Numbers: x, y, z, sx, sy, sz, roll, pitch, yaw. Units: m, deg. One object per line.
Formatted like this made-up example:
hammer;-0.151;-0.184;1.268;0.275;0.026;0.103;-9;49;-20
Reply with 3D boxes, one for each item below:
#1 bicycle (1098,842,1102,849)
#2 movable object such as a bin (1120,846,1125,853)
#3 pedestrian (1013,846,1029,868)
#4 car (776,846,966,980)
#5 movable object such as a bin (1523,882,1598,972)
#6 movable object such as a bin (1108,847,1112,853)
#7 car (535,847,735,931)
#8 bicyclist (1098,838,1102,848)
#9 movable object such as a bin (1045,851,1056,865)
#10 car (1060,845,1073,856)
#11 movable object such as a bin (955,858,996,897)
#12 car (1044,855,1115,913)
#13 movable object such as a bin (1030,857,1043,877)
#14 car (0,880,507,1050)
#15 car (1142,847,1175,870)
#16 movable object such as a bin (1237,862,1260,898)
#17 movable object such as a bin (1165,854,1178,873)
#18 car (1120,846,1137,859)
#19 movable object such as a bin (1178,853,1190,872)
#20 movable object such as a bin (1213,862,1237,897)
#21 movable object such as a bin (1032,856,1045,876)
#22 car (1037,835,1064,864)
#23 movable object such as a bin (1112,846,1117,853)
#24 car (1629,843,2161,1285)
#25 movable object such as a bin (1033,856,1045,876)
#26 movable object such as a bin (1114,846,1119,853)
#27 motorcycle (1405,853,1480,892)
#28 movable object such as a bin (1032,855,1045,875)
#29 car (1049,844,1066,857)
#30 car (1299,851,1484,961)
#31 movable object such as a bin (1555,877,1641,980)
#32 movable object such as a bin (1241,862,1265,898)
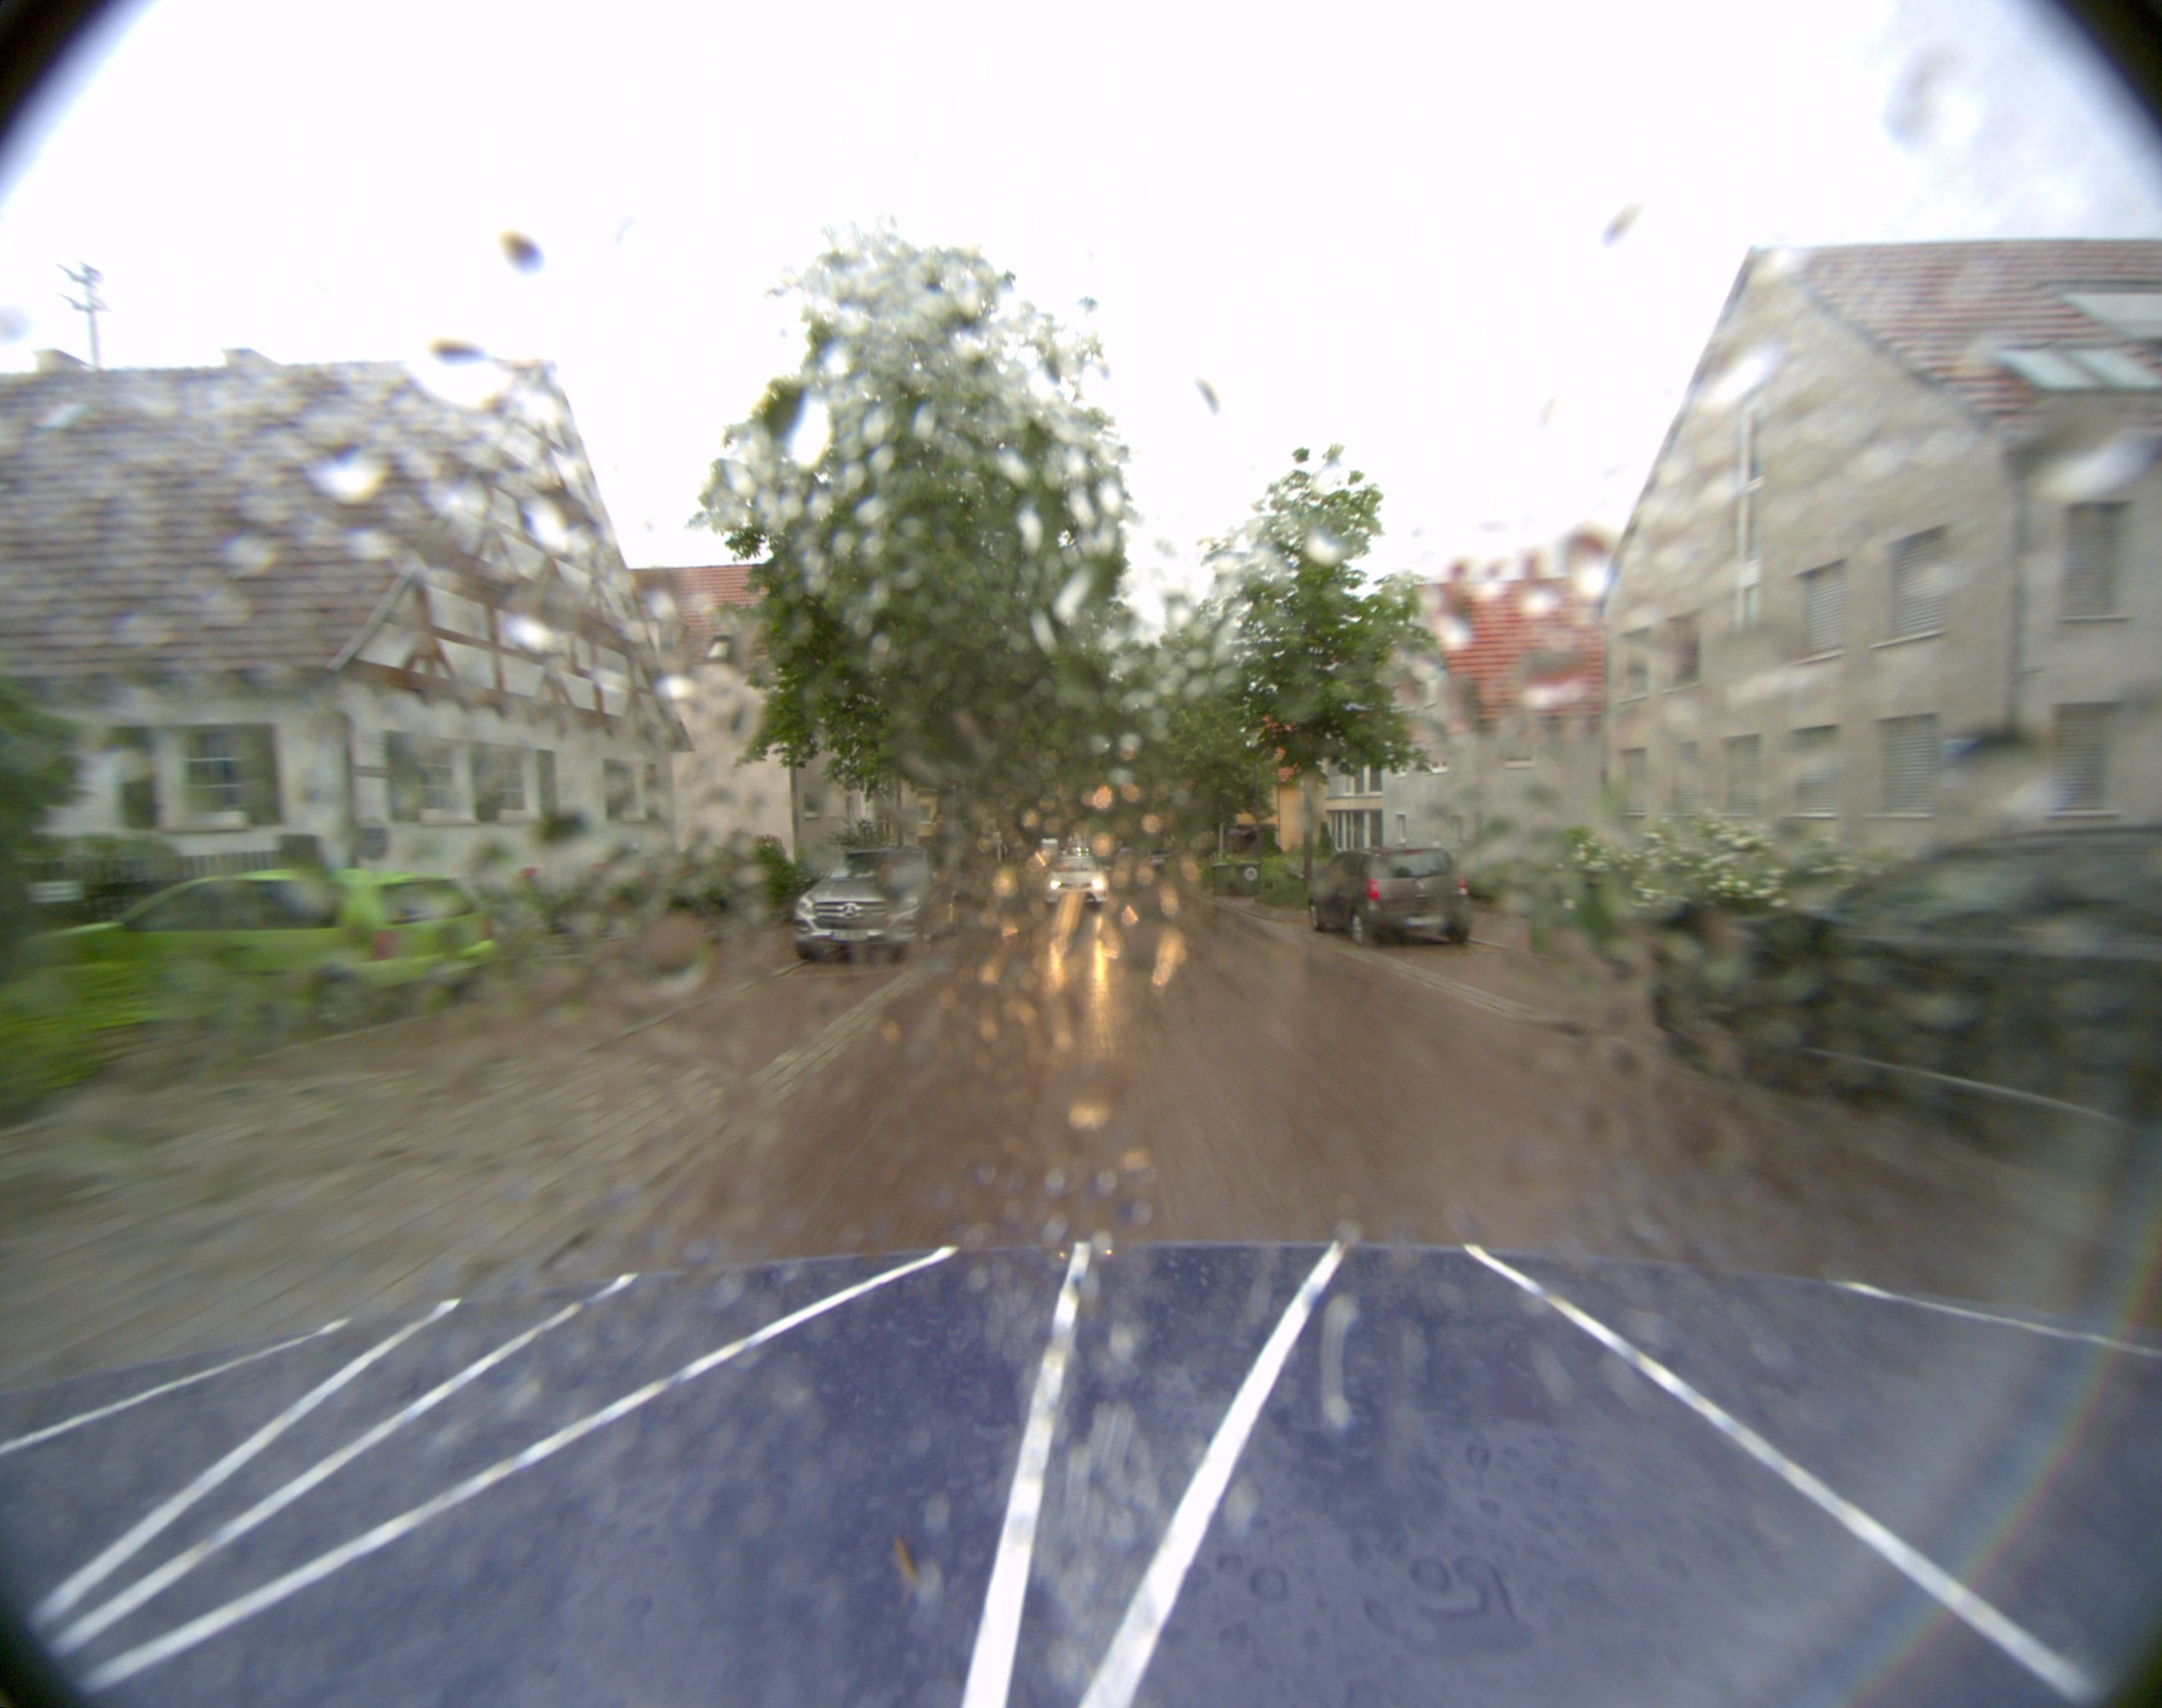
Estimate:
bicycle;3.348;-1.538;133.467;0.629;1.202;1.980;-2;1;0
movable object such as a bin;6.132;-0.680;112.062;0.665;1.068;0.596;-1;2;5
pedestrian;-4.676;0.228;59.261;0.955;1.642;0.794;0;2;14
car;-3.251;0.800;12.805;1.919;1.782;4.487;-2;1;0
movable object such as a bin;6.182;0.921;9.819;0.554;1.092;0.595;-2;0;-1
movable object such as a bin;5.065;-0.685;132.660;0.618;1.053;0.568;-4;1;-1
car;-12.936;0.970;22.281;4.472;1.889;1.999;-5;2;-1
bicyclist;3.338;-1.996;133.483;0.629;1.721;0.880;-2;1;0
movable object such as a bin;-2.484;0.336;61.944;0.799;1.069;0.878;-2;1;0
car;-1.899;-0.474;100.213;1.685;1.391;3.794;-1;1;0
movable object such as a bin;-3.750;0.824;27.065;1.227;1.308;1.134;-1;1;3
car;0.039;0.806;22.347;1.828;1.451;3.875;-2;1;2
movable object such as a bin;-2.411;0.702;40.895;0.645;1.076;0.540;-2;1;-3
car;-8.118;1.019;7.648;3.374;1.422;1.630;0;1;-3
car;5.160;0.260;50.934;1.776;1.381;4.545;-3;1;2
movable object such as a bin;5.379;0.828;24.350;0.612;1.105;0.564;-1;1;2
movable object such as a bin;5.155;0.544;43.337;0.596;1.056;0.545;-4;1;4
car;5.454;-0.195;87.871;1.754;1.388;3.795;-2;1;1
movable object such as a bin;5.863;0.484;43.432;0.596;1.056;0.545;-3;1;4
movable object such as a bin;4.632;0.817;24.449;0.644;1.105;0.536;-1;1;2
movable object such as a bin;-2.373;0.667;42.493;0.690;1.076;0.540;-2;1;-3
car;-2.769;-0.442;69.755;2.146;2.446;5.434;-2;1;0
movable object such as a bin;4.949;-0.670;112.931;0.665;1.068;0.596;-1;2;5
car;4.849;0.773;3.417;1.776;1.544;3.999;-4;0;-1
movable object such as a bin;-2.329;0.677;41.922;0.611;1.076;0.513;-2;1;-3
movable object such as a bin;5.271;-0.650;112.124;0.665;1.061;0.596;-1;2;5
motorcycle;11.555;0.587;24.340;1.987;1.155;0.818;-2;1;1
movable object such as a bin;-2.387;0.604;43.102;0.690;1.076;0.540;-2;1;-3
car;-2.815;-0.416;90.783;1.813;1.403;3.783;-2;1;0
car;5.068;0.749;12.982;1.651;1.524;3.866;-3;0;2
movable object such as a bin;6.235;0.885;9.193;0.584;1.170;0.618;-2;0;-1
movable object such as a bin;5.375;0.811;23.723;0.612;1.105;0.564;-1;1;2
